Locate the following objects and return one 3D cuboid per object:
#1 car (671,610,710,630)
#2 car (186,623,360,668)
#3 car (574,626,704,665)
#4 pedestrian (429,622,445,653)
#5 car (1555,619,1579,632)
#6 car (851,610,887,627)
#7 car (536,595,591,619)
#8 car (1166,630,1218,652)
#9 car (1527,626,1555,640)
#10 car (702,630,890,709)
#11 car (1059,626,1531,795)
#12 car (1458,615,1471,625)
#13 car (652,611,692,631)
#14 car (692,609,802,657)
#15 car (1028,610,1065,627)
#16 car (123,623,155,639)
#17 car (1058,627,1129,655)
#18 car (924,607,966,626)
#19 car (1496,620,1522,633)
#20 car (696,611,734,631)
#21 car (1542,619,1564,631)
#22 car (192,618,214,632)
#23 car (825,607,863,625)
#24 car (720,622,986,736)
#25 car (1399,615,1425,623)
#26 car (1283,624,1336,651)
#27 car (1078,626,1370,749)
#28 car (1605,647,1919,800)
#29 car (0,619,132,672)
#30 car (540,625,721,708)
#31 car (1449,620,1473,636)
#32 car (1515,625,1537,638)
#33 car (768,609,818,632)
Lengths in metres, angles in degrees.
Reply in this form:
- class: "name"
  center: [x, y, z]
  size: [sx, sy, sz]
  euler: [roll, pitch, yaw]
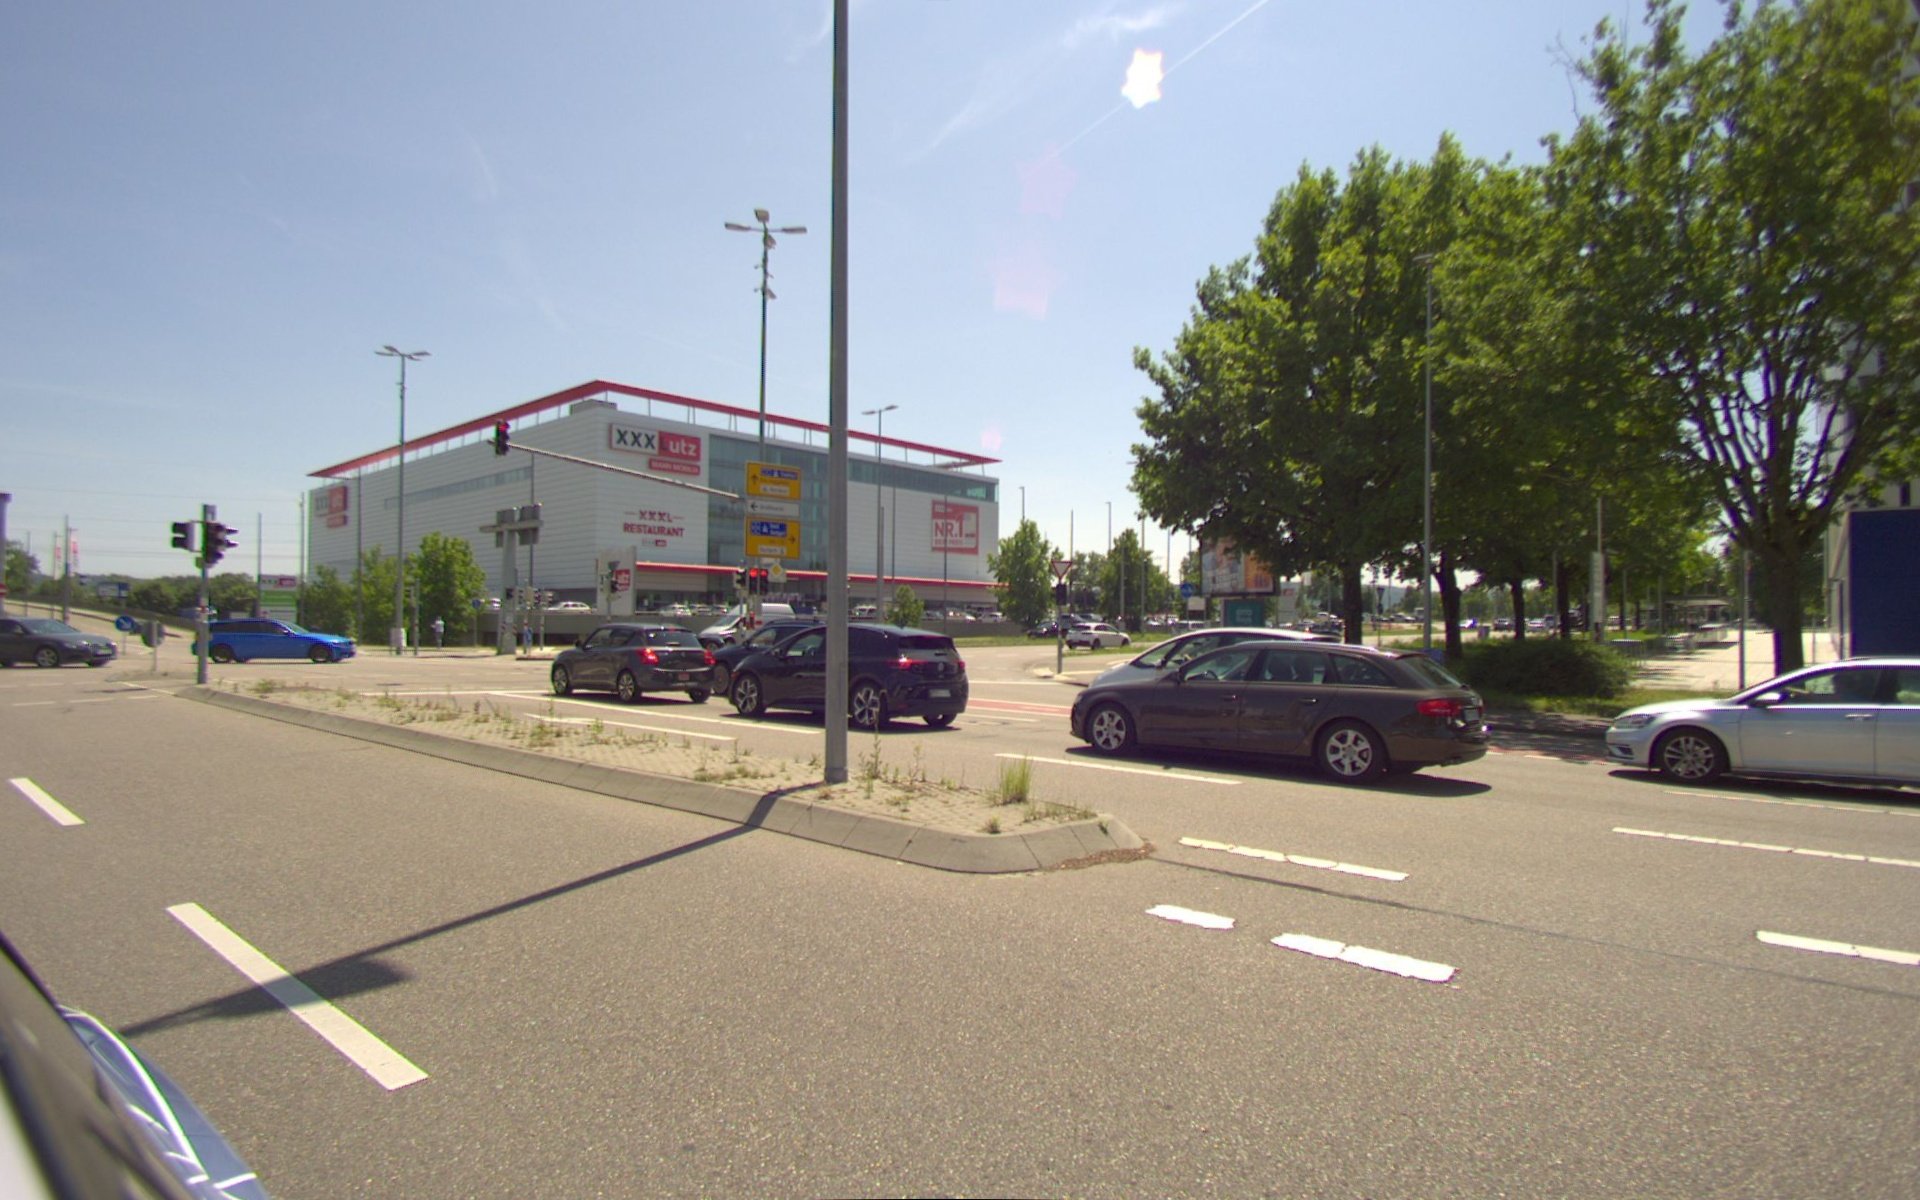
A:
- class: "car"
  center: [-27.246, 2.004, 102.216]
  size: [4.133, 2.029, 1.759]
  euler: [-1, -2, 41]
- class: "car"
  center: [-22.350, 1.477, 33.106]
  size: [4.355, 1.414, 1.776]
  euler: [0, -3, -16]
- class: "car"
  center: [-12.222, 1.740, 38.702]
  size: [4.396, 1.415, 1.679]
  euler: [2, -3, -41]
- class: "pedestrian"
  center: [-29.910, 2.140, 57.883]
  size: [0.596, 1.797, 0.827]
  euler: [2, -2, -45]
- class: "car"
  center: [79.470, 3.336, 132.415]
  size: [1.999, 1.564, 3.945]
  euler: [-1, -2, 41]
- class: "car"
  center: [-10.620, 2.158, 117.448]
  size: [3.999, 1.915, 1.972]
  euler: [-1, -2, 42]
- class: "car"
  center: [-36.163, 0.663, 92.340]
  size: [1.679, 2.029, 4.411]
  euler: [-2, -2, 43]
- class: "car"
  center: [15.600, 2.787, 67.956]
  size: [1.697, 1.433, 3.953]
  euler: [-3, -4, 42]
- class: "car"
  center: [68.627, 3.876, 119.563]
  size: [2.000, 1.564, 3.943]
  euler: [-1, -2, 42]
- class: "car"
  center: [-3.483, 1.383, 21.093]
  size: [4.036, 1.435, 1.643]
  euler: [0, -2, 41]
- class: "car"
  center: [3.534, 1.076, 11.305]
  size: [4.718, 1.457, 1.708]
  euler: [0, -3, 41]
- class: "car"
  center: [84.158, 3.348, 168.876]
  size: [1.691, 1.433, 3.502]
  euler: [-3, -3, 29]
- class: "car"
  center: [-28.622, 2.093, 100.540]
  size: [4.231, 2.029, 1.759]
  euler: [-1, -2, 41]
- class: "car"
  center: [-10.286, 1.611, 49.204]
  size: [4.974, 2.200, 2.001]
  euler: [2, -3, -45]
- class: "car"
  center: [10.295, 2.181, 120.869]
  size: [3.998, 2.029, 1.973]
  euler: [-1, -2, 41]
- class: "car"
  center: [-88.271, 3.318, 108.768]
  size: [3.998, 1.608, 1.973]
  euler: [0, -1, 41]
- class: "car"
  center: [7.291, 2.218, 55.144]
  size: [1.794, 1.447, 4.011]
  euler: [-3, -3, 44]
- class: "car"
  center: [-1.592, 1.805, 109.083]
  size: [4.328, 2.029, 1.973]
  euler: [-1, -2, 41]
- class: "car"
  center: [66.634, 3.245, 122.873]
  size: [1.926, 1.564, 3.555]
  euler: [-1, -2, 44]
- class: "car"
  center: [-25.153, 2.138, 103.943]
  size: [4.133, 2.029, 1.759]
  euler: [-1, -2, 41]
- class: "car"
  center: [82.517, 3.491, 140.755]
  size: [1.853, 1.638, 3.744]
  euler: [-1, -2, 42]
- class: "car"
  center: [-126.581, 4.128, 169.153]
  size: [4.814, 2.300, 2.162]
  euler: [-2, -3, 44]
- class: "car"
  center: [-12.953, 1.800, 112.989]
  size: [3.998, 2.029, 1.972]
  euler: [-1, -2, 41]
- class: "car"
  center: [-1.782, 1.160, 15.899]
  size: [4.241, 1.517, 1.708]
  euler: [0, -3, 41]
- class: "car"
  center: [80.712, 3.422, 180.718]
  size: [3.996, 1.433, 1.679]
  euler: [-1, -2, 33]
- class: "car"
  center: [24.266, 2.607, 70.211]
  size: [1.803, 1.452, 4.492]
  euler: [-8, -11, 42]
- class: "car"
  center: [3.879, 1.207, 15.202]
  size: [3.913, 1.556, 1.709]
  euler: [0, -2, 41]
- class: "car"
  center: [9.559, 1.244, 10.531]
  size: [4.619, 1.433, 1.728]
  euler: [-1, -4, 40]
- class: "car"
  center: [-25.517, 1.243, 27.884]
  size: [4.036, 1.393, 1.769]
  euler: [0, -2, 3]
- class: "car"
  center: [-6.433, 1.244, 19.593]
  size: [3.714, 1.399, 1.626]
  euler: [0, -3, 41]
- class: "car"
  center: [64.606, 3.647, 130.559]
  size: [1.816, 2.029, 3.945]
  euler: [-2, -2, 41]
- class: "car"
  center: [71.724, 3.984, 128.207]
  size: [1.646, 1.564, 3.371]
  euler: [-1, -2, 44]
- class: "car"
  center: [-15.204, 1.877, 92.064]
  size: [4.322, 2.029, 1.975]
  euler: [-1, -2, 37]
